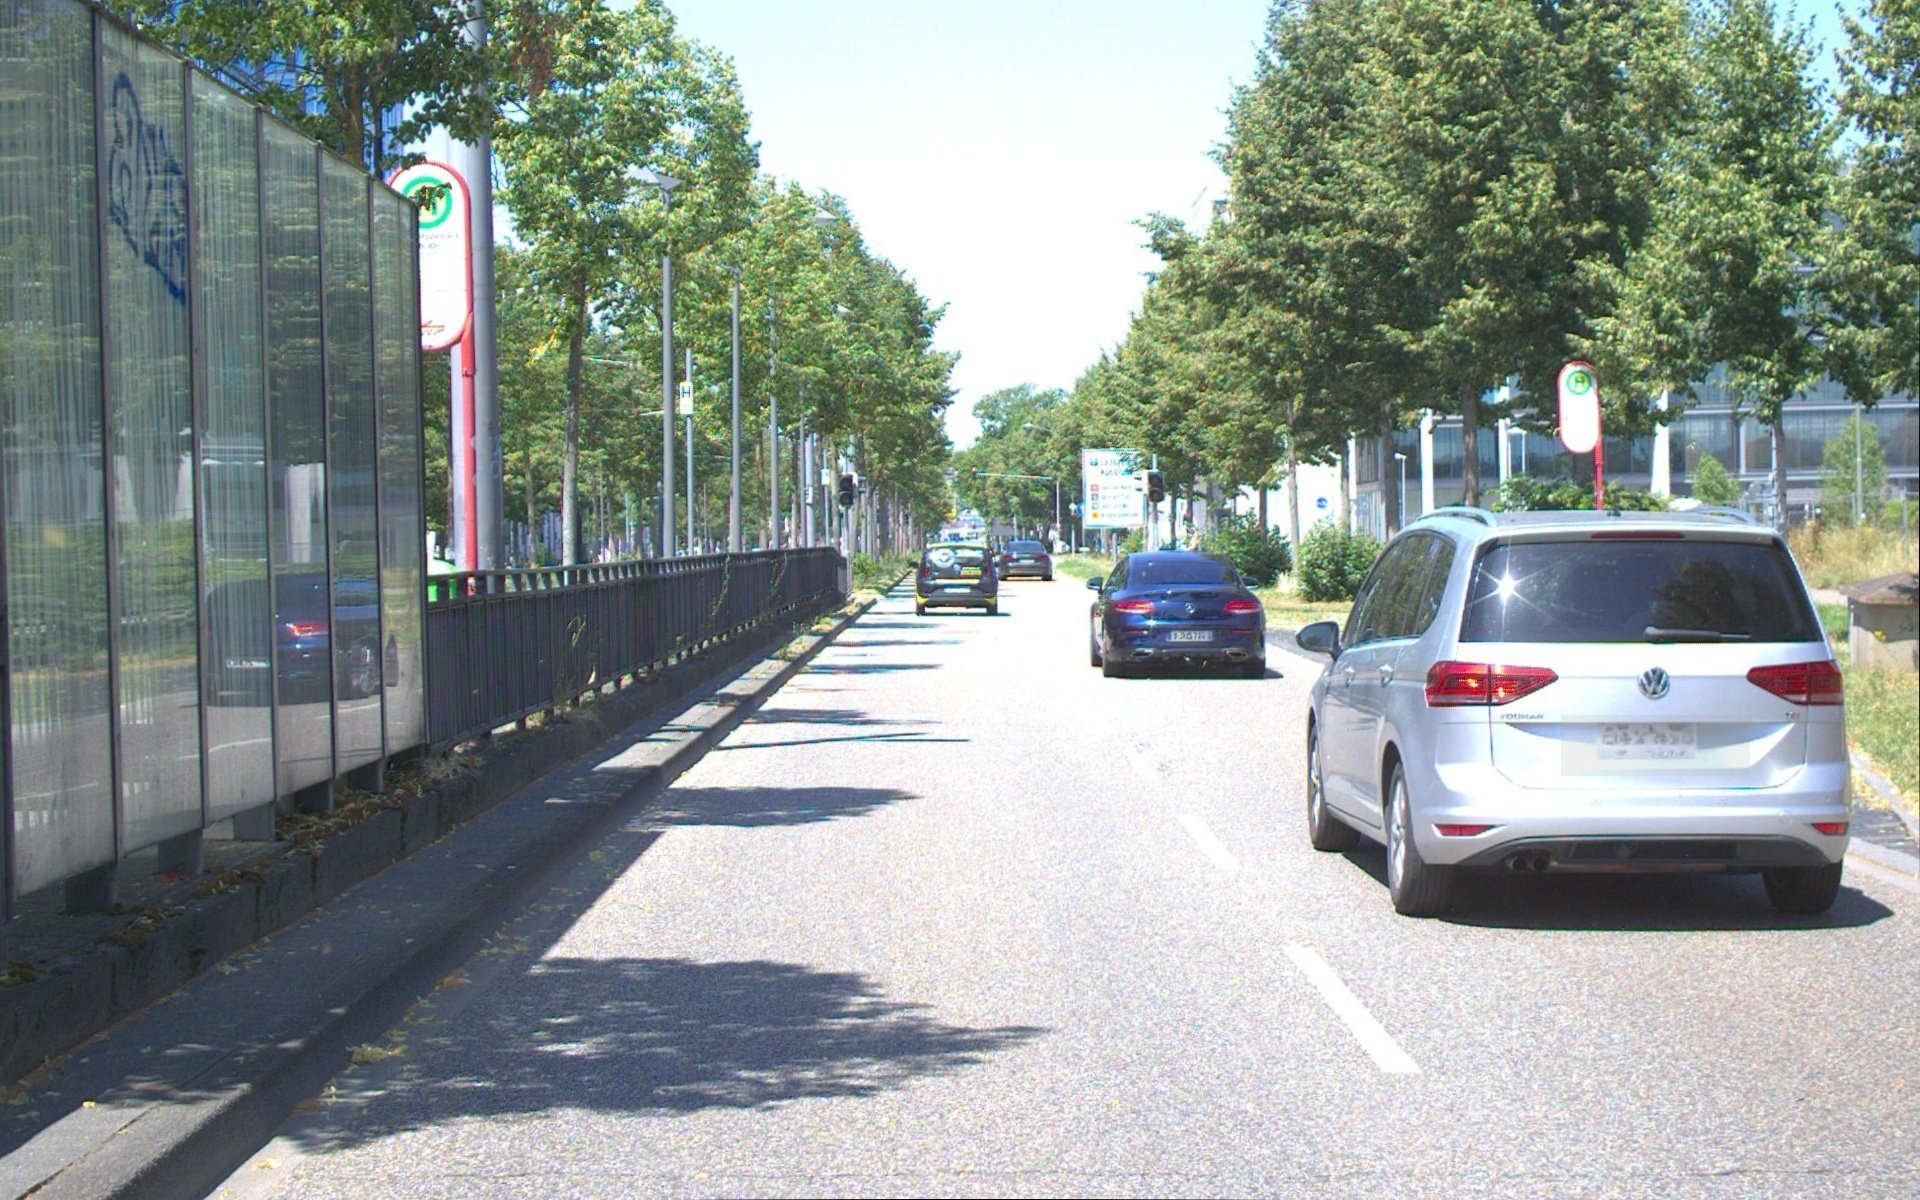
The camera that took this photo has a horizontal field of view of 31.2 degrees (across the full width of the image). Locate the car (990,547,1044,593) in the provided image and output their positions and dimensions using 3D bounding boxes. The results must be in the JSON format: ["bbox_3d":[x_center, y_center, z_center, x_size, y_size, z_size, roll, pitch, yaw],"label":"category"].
[{"bbox_3d":[2.034,-1.084,124.064,1.766,1.621,3.716,-1,0,-1],"label":"car"}]

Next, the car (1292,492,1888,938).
[{"bbox_3d":[2.585,0.405,15.192,1.800,1.643,4.604,1,1,1],"label":"car"}]

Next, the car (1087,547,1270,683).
[{"bbox_3d":[2.439,0.135,39.377,1.852,1.431,4.955,-1,1,1],"label":"car"}]

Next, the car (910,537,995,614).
[{"bbox_3d":[-0.153,-0.463,68.622,1.618,1.446,3.986,-1,0,0],"label":"car"}]
